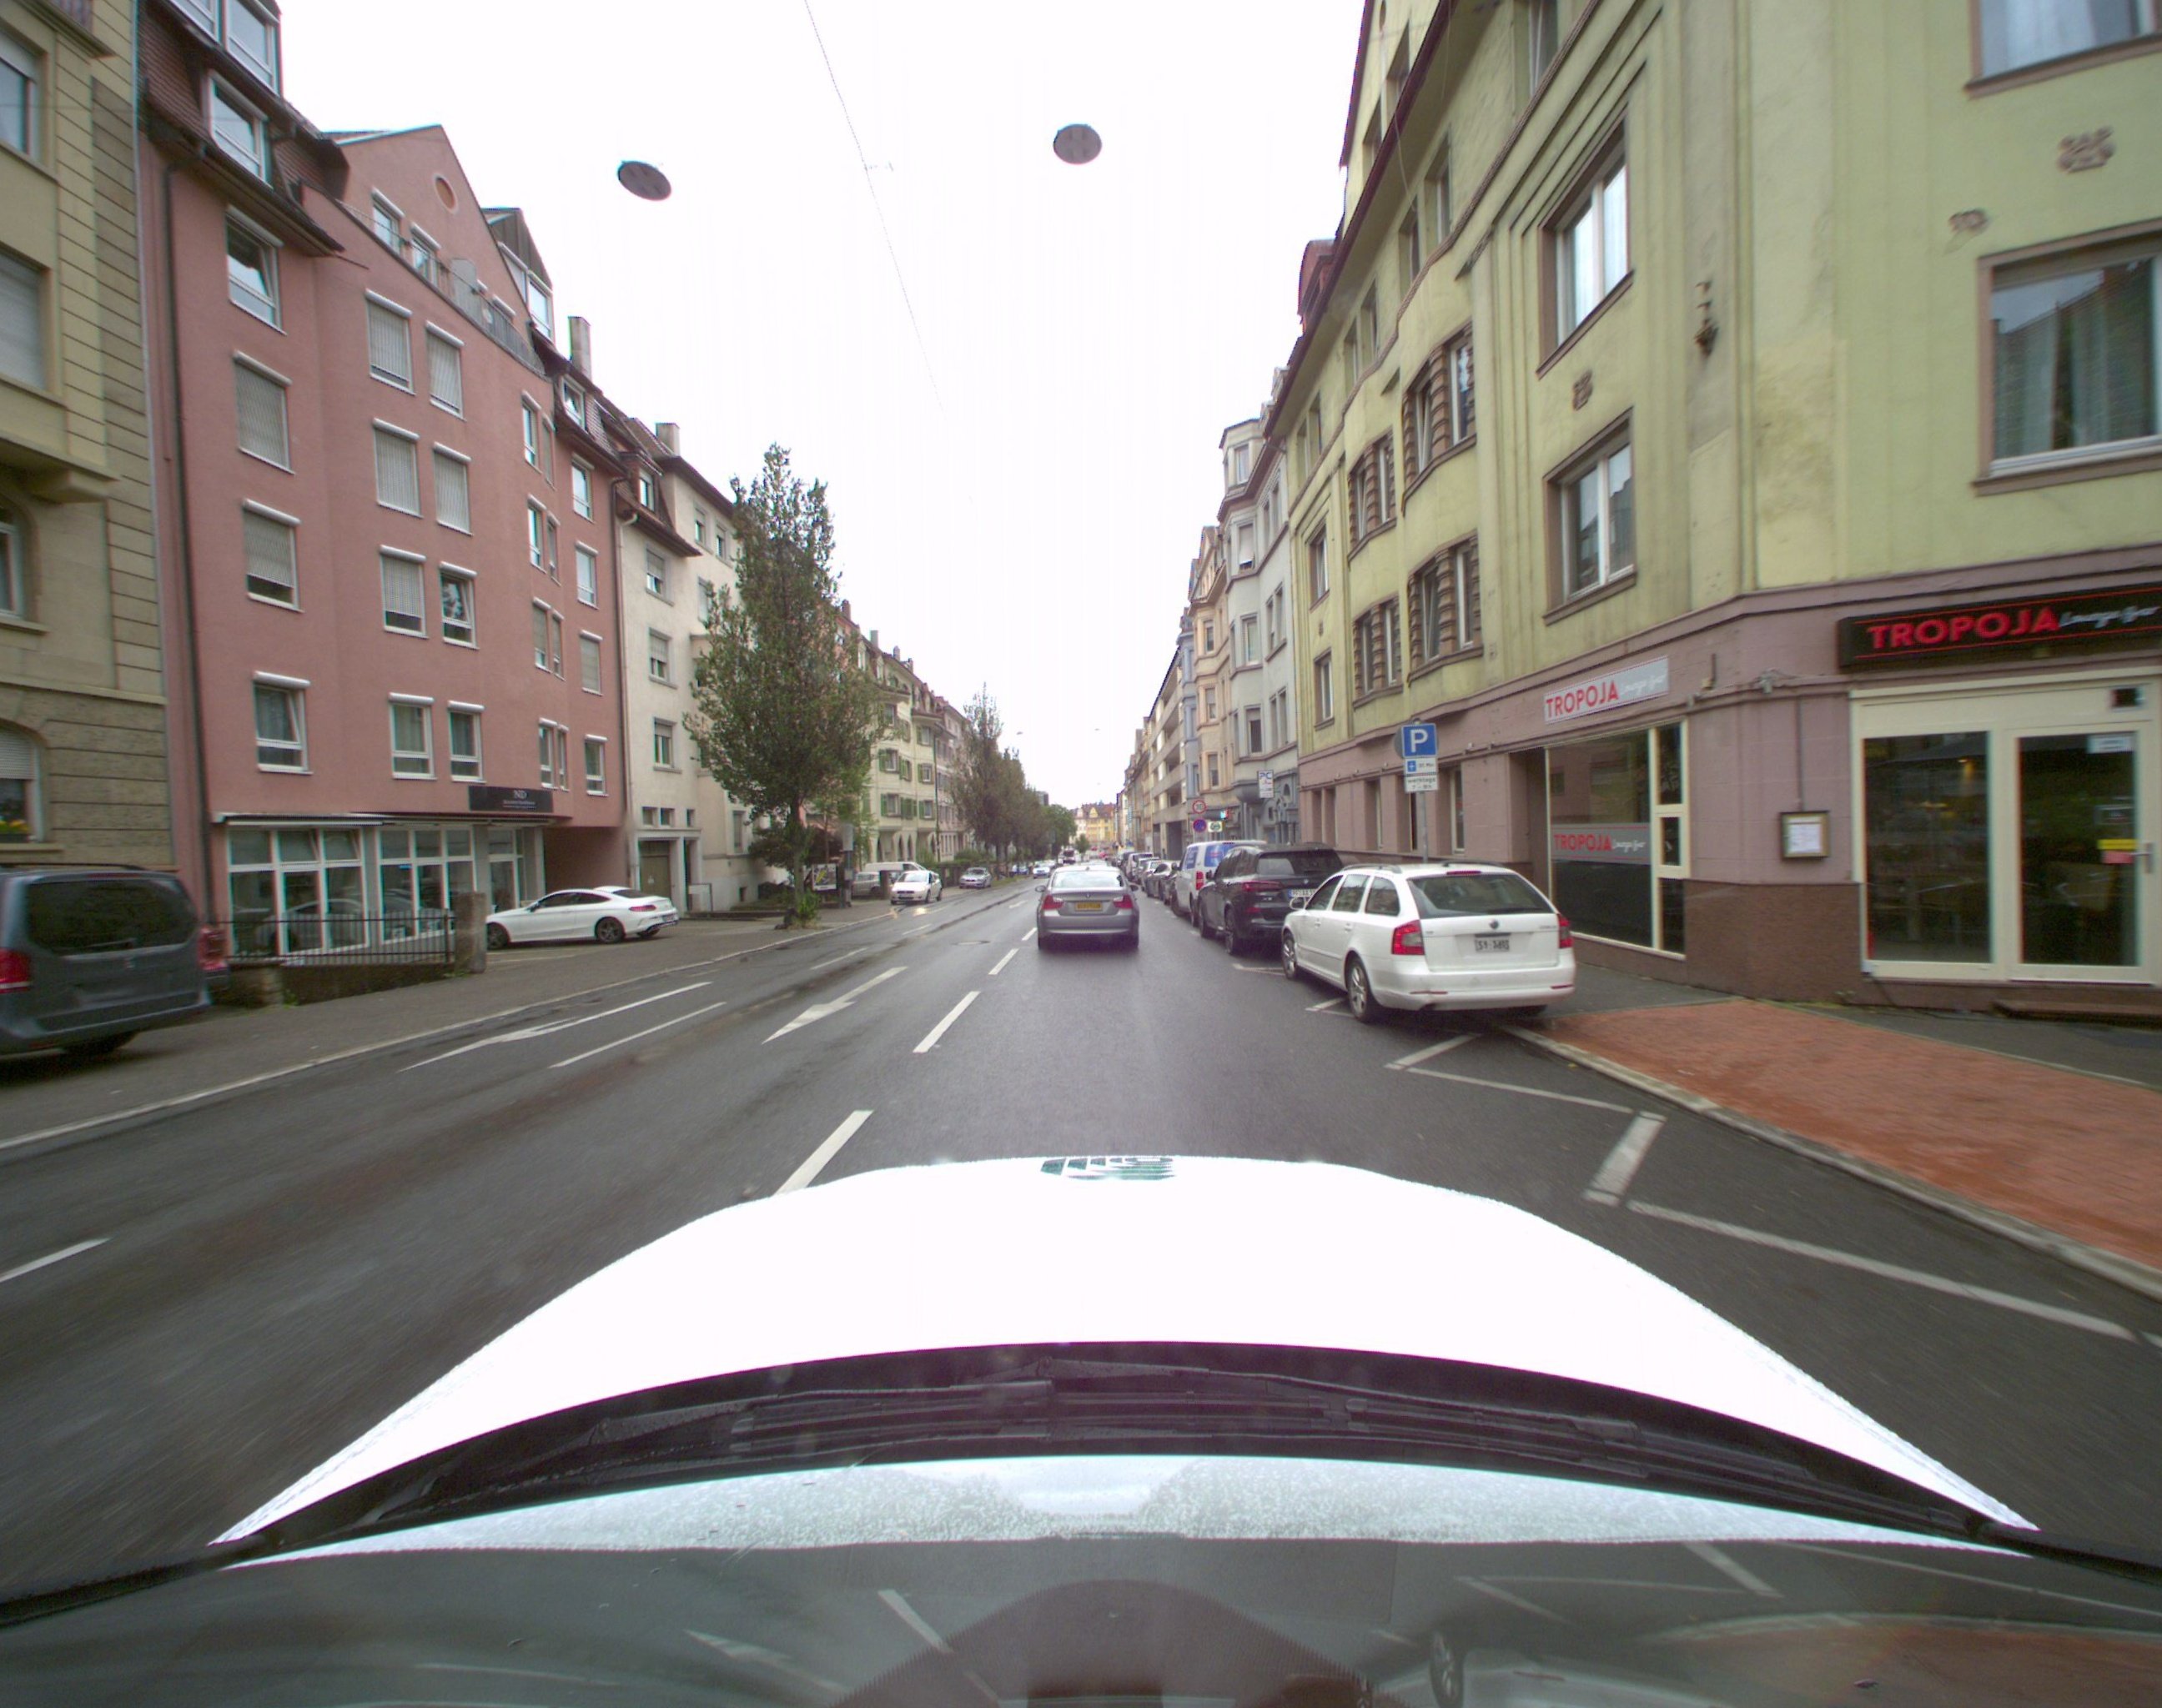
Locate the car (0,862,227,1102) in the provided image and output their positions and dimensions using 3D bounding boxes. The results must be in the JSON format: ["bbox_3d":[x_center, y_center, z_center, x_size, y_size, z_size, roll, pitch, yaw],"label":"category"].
[{"bbox_3d":[-11.144,1.075,7.253,4.673,1.938,1.858,0,0,-9],"label":"car"}]

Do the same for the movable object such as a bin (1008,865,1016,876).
[{"bbox_3d":[-6.185,1.461,73.147,0.575,0.912,0.637,-3,-1,-13],"label":"movable object such as a bin"}]

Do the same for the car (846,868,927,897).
[{"bbox_3d":[-11.730,1.718,49.280,4.419,1.451,1.791,-3,0,-2],"label":"car"}]

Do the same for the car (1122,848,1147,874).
[{"bbox_3d":[4.785,0.592,73.271,1.975,2.166,4.751,-3,0,1],"label":"car"}]

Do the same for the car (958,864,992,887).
[{"bbox_3d":[-7.337,1.469,56.709,1.719,1.484,3.991,0,-1,2],"label":"car"}]

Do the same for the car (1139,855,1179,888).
[{"bbox_3d":[3.641,0.785,38.556,1.605,1.474,4.016,-1,0,1],"label":"car"}]

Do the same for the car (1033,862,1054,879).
[{"bbox_3d":[-3.672,1.613,80.461,1.630,1.508,3.755,-5,0,1],"label":"car"}]

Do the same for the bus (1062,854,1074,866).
[{"bbox_3d":[-3.440,1.478,214.698,2.659,3.024,7.672,-3,0,1],"label":"bus"}]

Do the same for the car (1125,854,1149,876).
[{"bbox_3d":[4.525,0.860,66.295,1.720,1.670,4.289,-3,0,1],"label":"car"}]

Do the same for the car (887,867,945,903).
[{"bbox_3d":[-7.448,1.356,37.063,1.615,1.445,4.007,-3,0,2],"label":"car"}]

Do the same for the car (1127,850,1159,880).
[{"bbox_3d":[4.424,0.765,58.601,1.975,2.007,4.626,-3,0,1],"label":"car"}]

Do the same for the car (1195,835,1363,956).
[{"bbox_3d":[3.204,0.614,14.179,1.872,1.731,4.677,-1,0,1],"label":"car"}]

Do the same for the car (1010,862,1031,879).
[{"bbox_3d":[-6.313,1.707,85.295,1.761,1.593,3.999,-4,0,0],"label":"car"}]

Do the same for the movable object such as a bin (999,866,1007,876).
[{"bbox_3d":[-6.991,1.512,72.990,0.575,0.912,0.637,-3,-1,-13],"label":"movable object such as a bin"}]

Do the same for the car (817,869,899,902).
[{"bbox_3d":[-11.816,1.679,43.400,3.877,1.457,1.788,-3,0,-7],"label":"car"}]

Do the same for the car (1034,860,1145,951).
[{"bbox_3d":[0.160,0.847,14.958,1.763,1.428,3.741,-1,-1,0],"label":"car"}]

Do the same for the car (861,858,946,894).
[{"bbox_3d":[-11.191,1.362,51.631,4.812,1.974,2.048,-3,0,1],"label":"car"}]

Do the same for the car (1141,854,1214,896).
[{"bbox_3d":[3.632,0.785,31.495,1.872,1.467,4.766,-1,-1,-5],"label":"car"}]

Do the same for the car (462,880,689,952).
[{"bbox_3d":[-12.610,1.518,20.514,4.532,1.401,1.768,-3,0,0],"label":"car"}]

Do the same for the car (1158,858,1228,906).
[{"bbox_3d":[3.456,0.826,25.831,1.671,1.375,4.277,-1,0,1],"label":"car"}]

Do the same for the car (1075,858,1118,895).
[{"bbox_3d":[0.700,0.920,33.936,1.675,1.428,3.743,-1,-1,2],"label":"car"}]

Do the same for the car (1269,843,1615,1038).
[{"bbox_3d":[3.467,0.712,8.891,1.793,1.565,4.492,-1,0,0],"label":"car"}]

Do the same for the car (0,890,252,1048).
[{"bbox_3d":[-12.656,1.252,9.444,4.083,1.591,1.897,0,-1,0],"label":"car"}]

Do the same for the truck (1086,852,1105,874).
[{"bbox_3d":[1.660,1.054,92.783,2.025,2.412,4.826,-1,-1,0],"label":"truck"}]

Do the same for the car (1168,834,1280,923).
[{"bbox_3d":[3.375,0.550,20.252,1.912,1.827,5.010,-3,0,1],"label":"car"}]

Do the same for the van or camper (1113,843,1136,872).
[{"bbox_3d":[4.516,0.357,83.757,2.023,2.869,6.894,0,0,5],"label":"van or camper"}]

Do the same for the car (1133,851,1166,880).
[{"bbox_3d":[4.336,0.704,51.897,1.720,1.670,4.289,-4,0,1],"label":"car"}]

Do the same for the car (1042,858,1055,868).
[{"bbox_3d":[-5.130,1.410,127.809,1.684,1.523,3.738,-4,0,2],"label":"car"}]

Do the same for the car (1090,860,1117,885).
[{"bbox_3d":[1.440,1.176,52.838,1.692,1.483,3.793,-1,-1,0],"label":"car"}]
